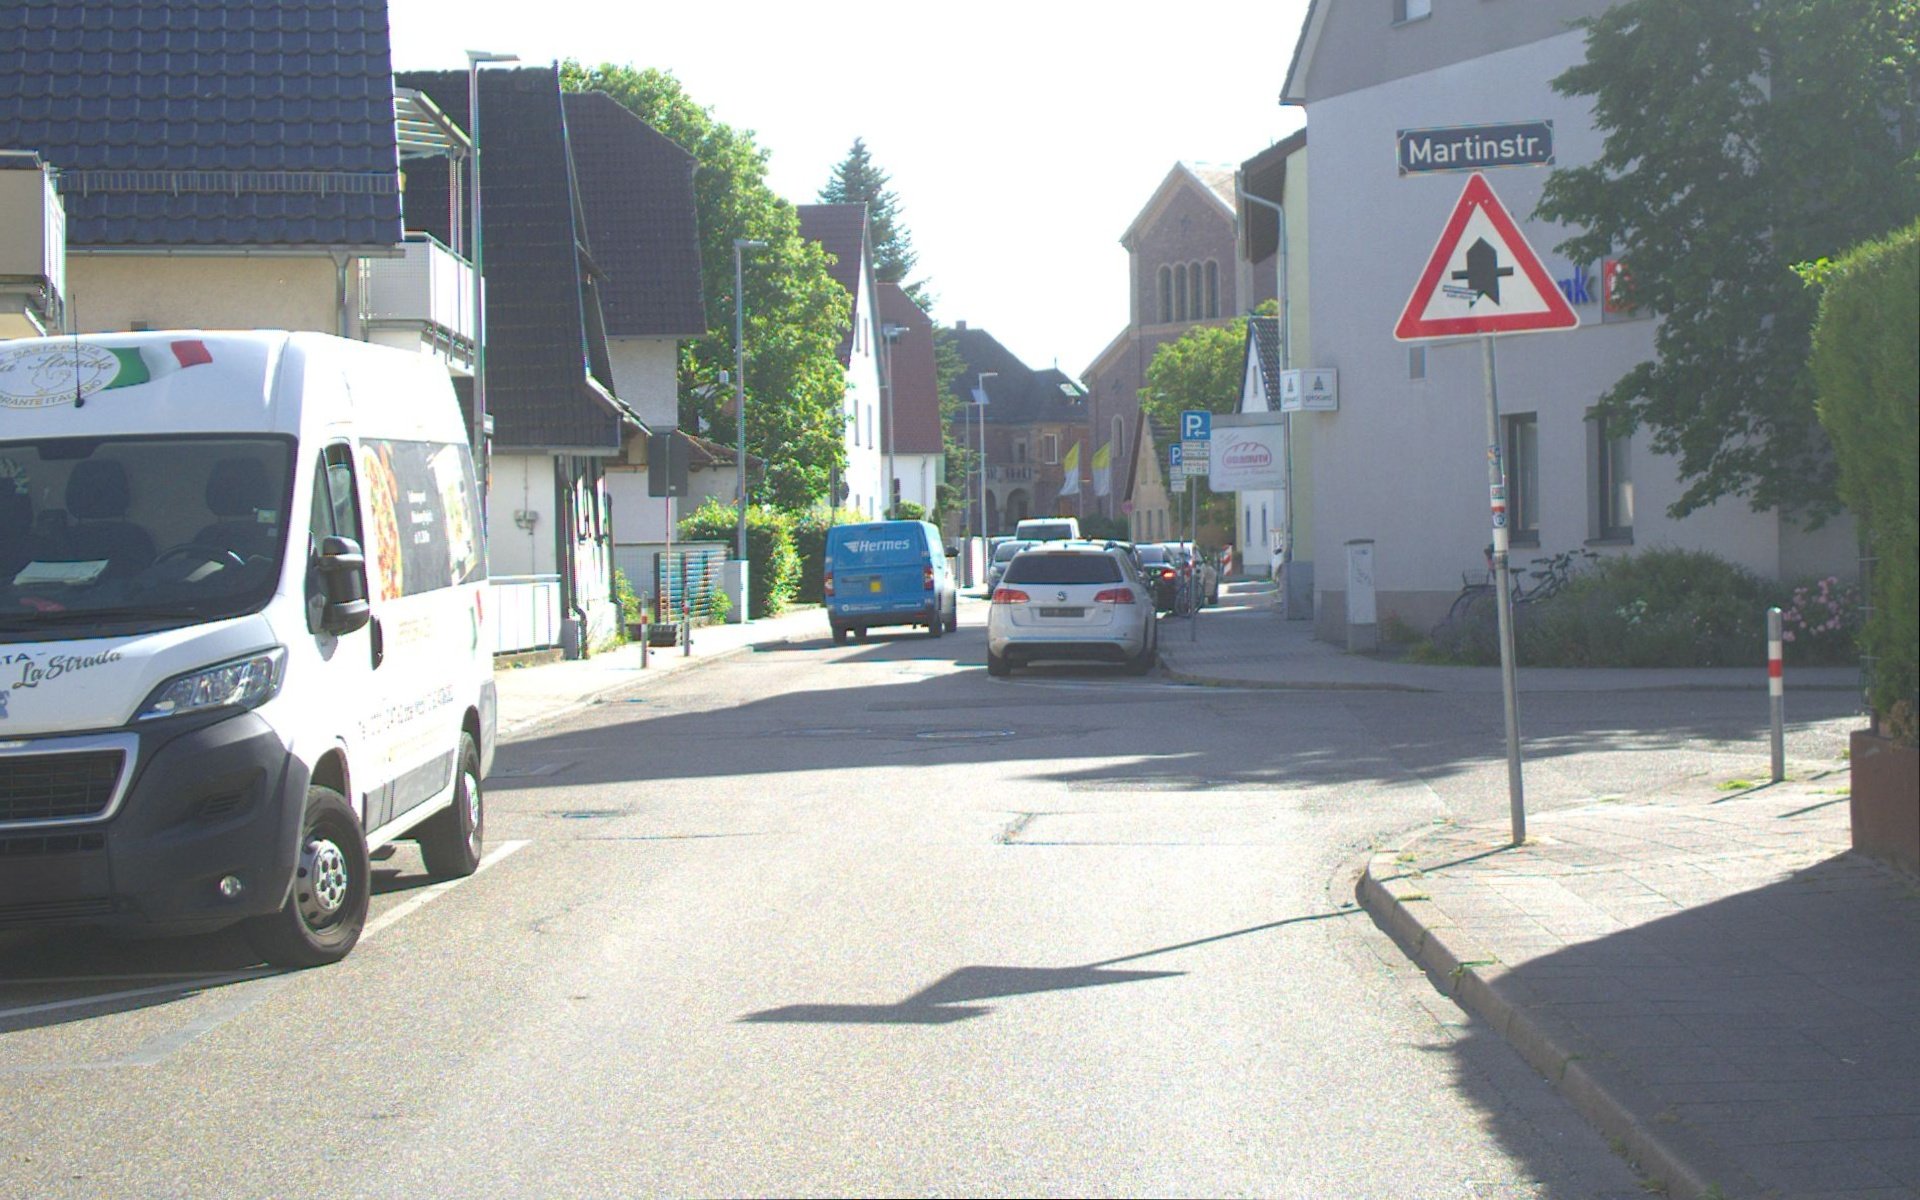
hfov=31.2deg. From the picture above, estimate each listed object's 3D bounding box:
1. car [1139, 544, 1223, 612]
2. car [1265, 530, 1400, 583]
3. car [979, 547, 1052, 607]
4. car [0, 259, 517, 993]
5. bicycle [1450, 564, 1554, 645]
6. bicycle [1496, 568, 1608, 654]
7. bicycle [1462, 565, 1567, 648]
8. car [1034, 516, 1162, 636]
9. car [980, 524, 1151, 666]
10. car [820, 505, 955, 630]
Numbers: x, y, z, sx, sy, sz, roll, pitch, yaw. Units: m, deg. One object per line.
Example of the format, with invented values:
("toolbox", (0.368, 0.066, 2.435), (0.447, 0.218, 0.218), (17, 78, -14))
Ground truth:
("car", (4.981, -0.525, 77.310), (1.811, 1.470, 4.659), (0, 1, 4))
("car", (11.570, -1.361, 106.712), (3.915, 1.487, 1.846), (-2, 1, 14))
("car", (1.606, -0.673, 98.077), (1.715, 1.593, 3.925), (-2, 1, 5))
("car", (-3.369, 0.056, 14.429), (2.252, 2.462, 5.516), (-2, 1, 0))
("bicycle", (6.297, 0.051, 39.959), (1.163, 0.917, 0.313), (-1, 1, 11))
("bicycle", (6.521, 0.120, 37.906), (1.163, 0.917, 0.313), (-2, 1, 1))
("bicycle", (6.373, 0.075, 39.530), (1.163, 0.917, 0.313), (-1, 1, 11))
("car", (1.818, -0.343, 45.516), (1.610, 1.515, 3.971), (0, 1, 2))
("car", (1.273, -0.105, 39.783), (1.846, 1.508, 4.506), (-1, 1, 3))
("car", (-1.153, -0.558, 56.797), (1.902, 1.911, 5.070), (-2, 1, 2))
